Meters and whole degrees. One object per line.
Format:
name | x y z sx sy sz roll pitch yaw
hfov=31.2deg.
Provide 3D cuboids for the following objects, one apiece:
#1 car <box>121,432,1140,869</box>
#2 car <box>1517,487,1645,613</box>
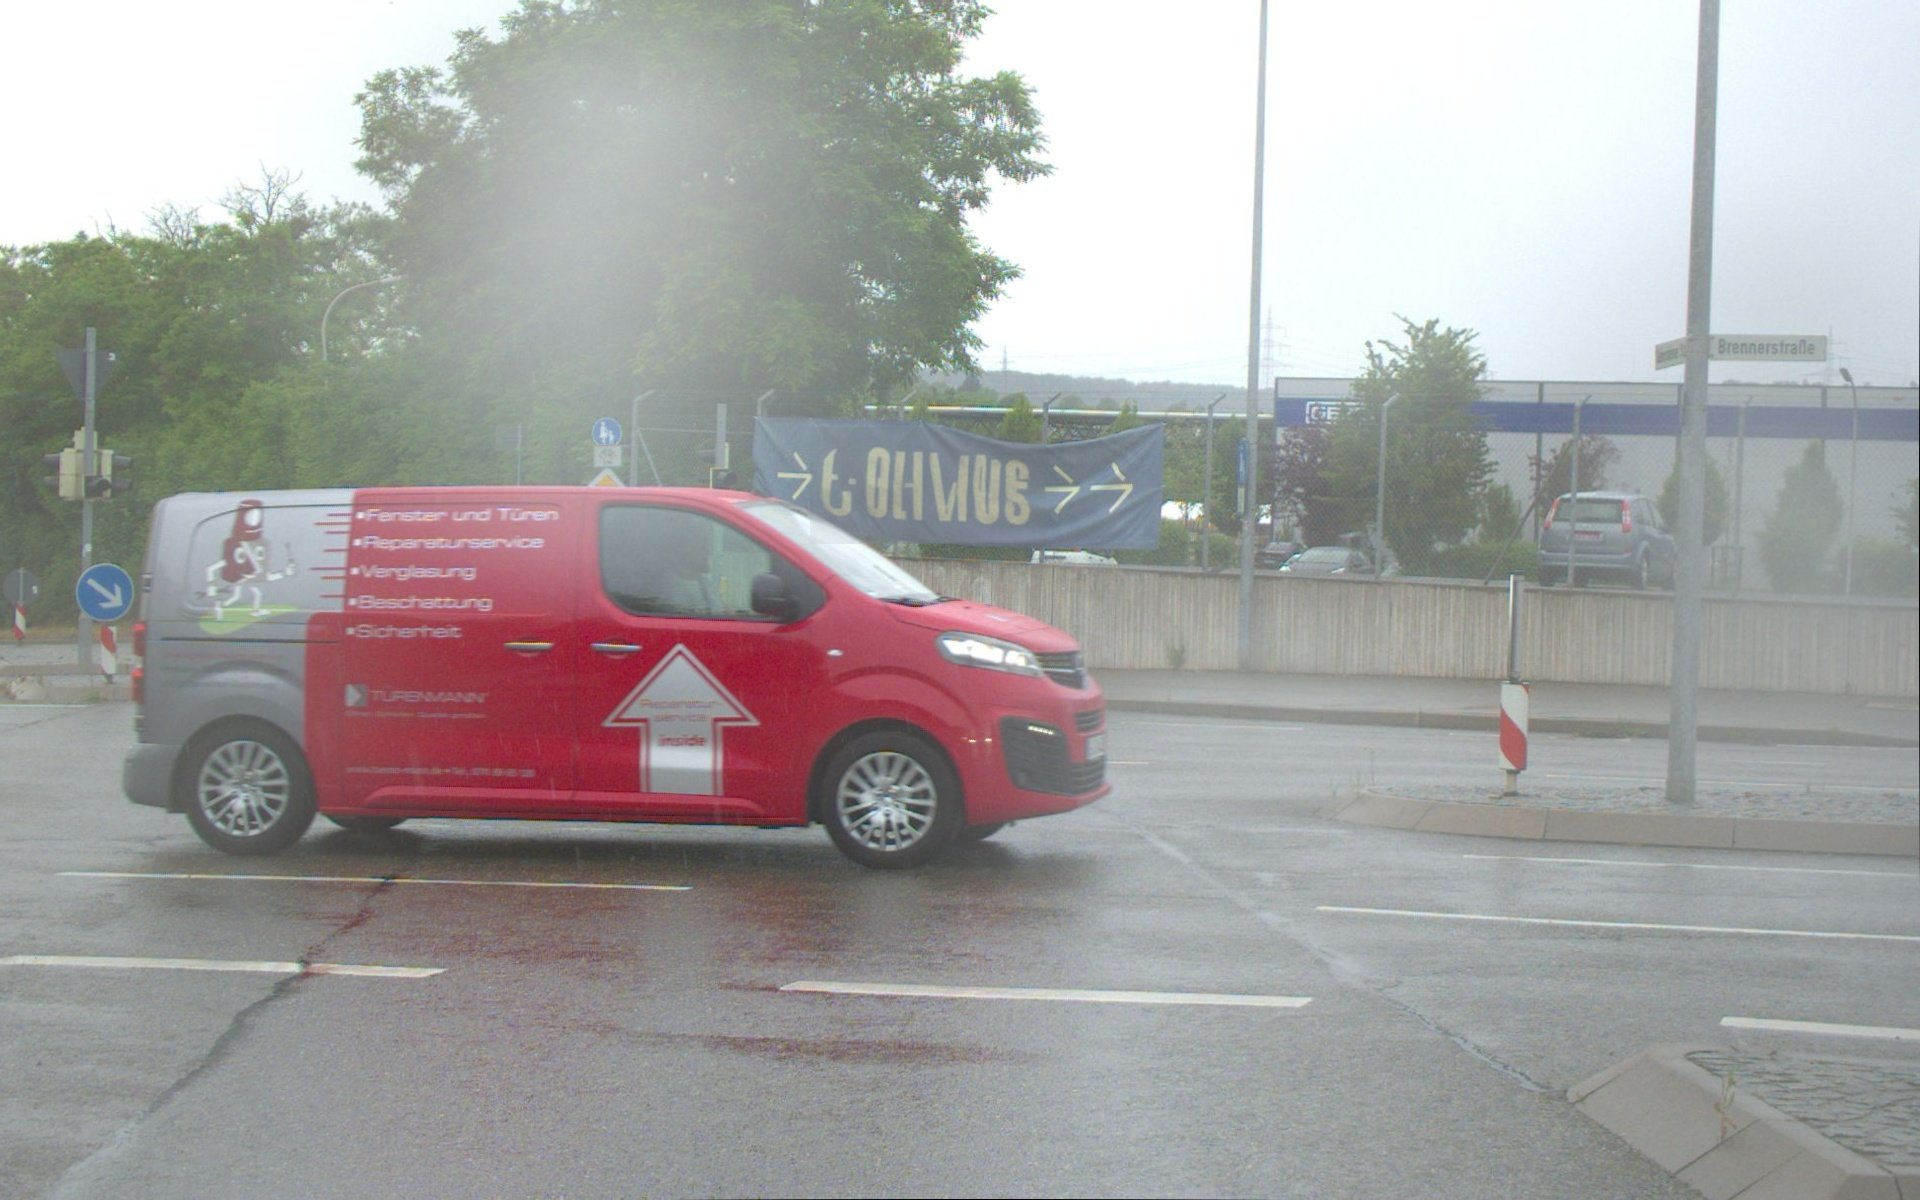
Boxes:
car | -1.615 0.193 17.548 4.774 2.007 1.999 1 1 12
car | 10.445 -0.845 57.699 1.994 2.007 3.998 1 1 11
